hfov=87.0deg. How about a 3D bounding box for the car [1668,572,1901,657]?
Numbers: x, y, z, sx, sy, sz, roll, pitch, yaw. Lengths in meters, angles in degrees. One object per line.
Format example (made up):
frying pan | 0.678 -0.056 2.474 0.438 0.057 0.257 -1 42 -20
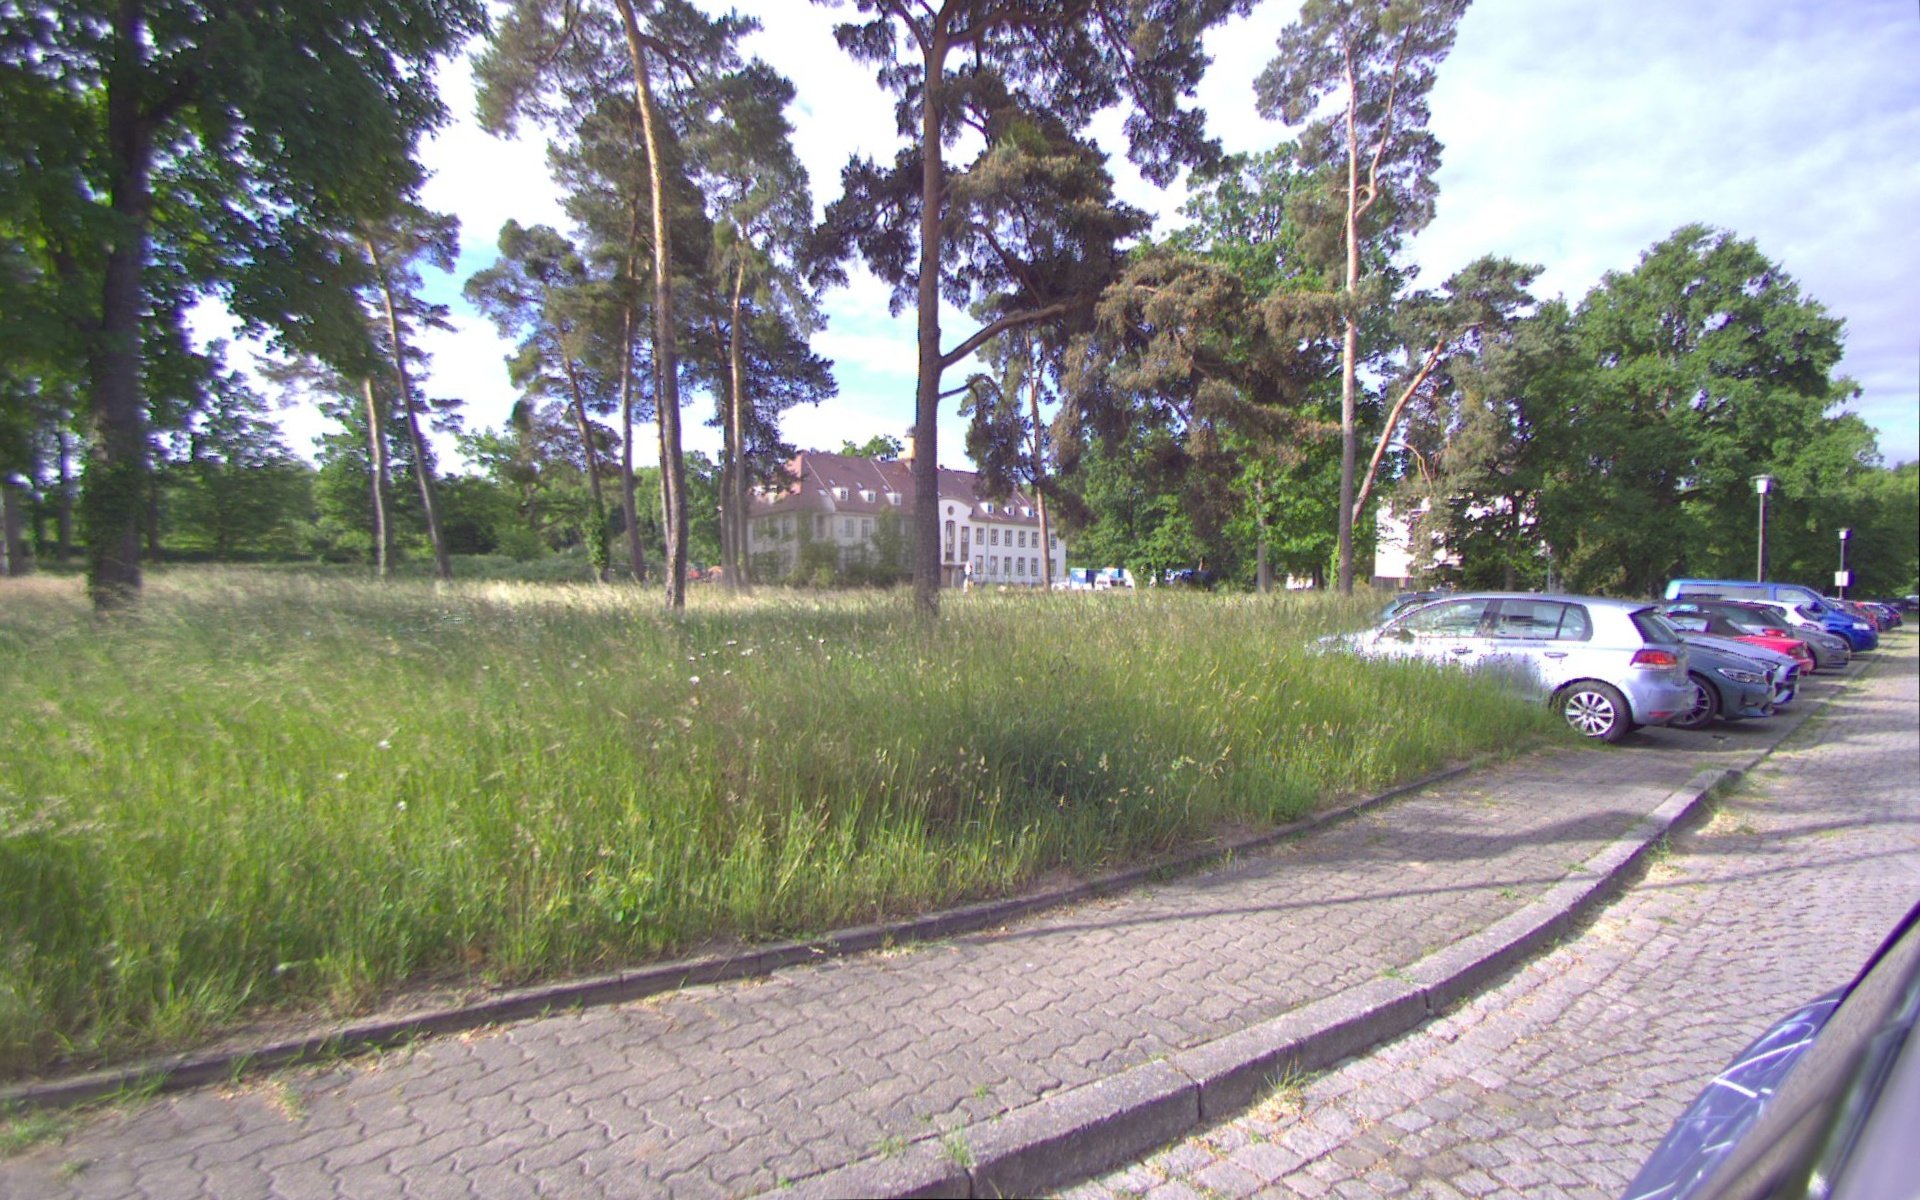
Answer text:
car | 22.570 0.305 27.850 4.736 1.952 1.960 5 4 44

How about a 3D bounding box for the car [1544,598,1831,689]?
car | 13.007 0.695 18.251 1.698 1.276 3.954 -1 3 -44

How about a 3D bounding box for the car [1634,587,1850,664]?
car | 18.681 0.542 24.295 1.778 1.549 3.878 -1 3 -44

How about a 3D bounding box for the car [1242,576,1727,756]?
car | 5.759 0.553 11.520 4.545 1.523 1.903 3 3 44

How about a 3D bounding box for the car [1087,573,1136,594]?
car | 16.918 -1.820 112.864 5.861 2.328 2.165 0 2 -43

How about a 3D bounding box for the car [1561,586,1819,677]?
car | 14.581 0.544 20.354 1.743 1.513 3.954 -1 3 -44

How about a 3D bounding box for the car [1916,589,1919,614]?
car | 82.409 0.169 83.542 1.968 2.066 5.068 1 1 -45

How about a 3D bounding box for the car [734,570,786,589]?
car | -22.029 -2.261 111.436 5.637 2.038 2.597 2 2 39

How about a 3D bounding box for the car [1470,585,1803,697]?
car | 11.105 0.565 16.851 1.712 1.491 4.344 -1 3 -45

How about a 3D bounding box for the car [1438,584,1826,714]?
car | 9.786 0.581 15.006 1.820 1.491 4.510 -1 3 -45

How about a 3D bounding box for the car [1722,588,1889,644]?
car | 28.528 0.476 34.233 4.192 1.608 1.848 3 3 44

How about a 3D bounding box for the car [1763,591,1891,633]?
car | 35.524 0.454 41.517 3.879 1.491 1.660 4 3 44

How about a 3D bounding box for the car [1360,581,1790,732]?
car | 7.804 0.572 13.122 4.504 1.491 1.867 3 3 41

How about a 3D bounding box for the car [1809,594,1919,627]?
car | 46.168 0.492 51.715 1.753 1.468 4.032 -1 3 -43

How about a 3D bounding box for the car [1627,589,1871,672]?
car | 17.033 0.572 21.960 1.801 1.485 3.954 -1 3 -44

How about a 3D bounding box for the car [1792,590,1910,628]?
car | 42.737 0.386 48.614 4.128 1.588 1.719 3 3 45
